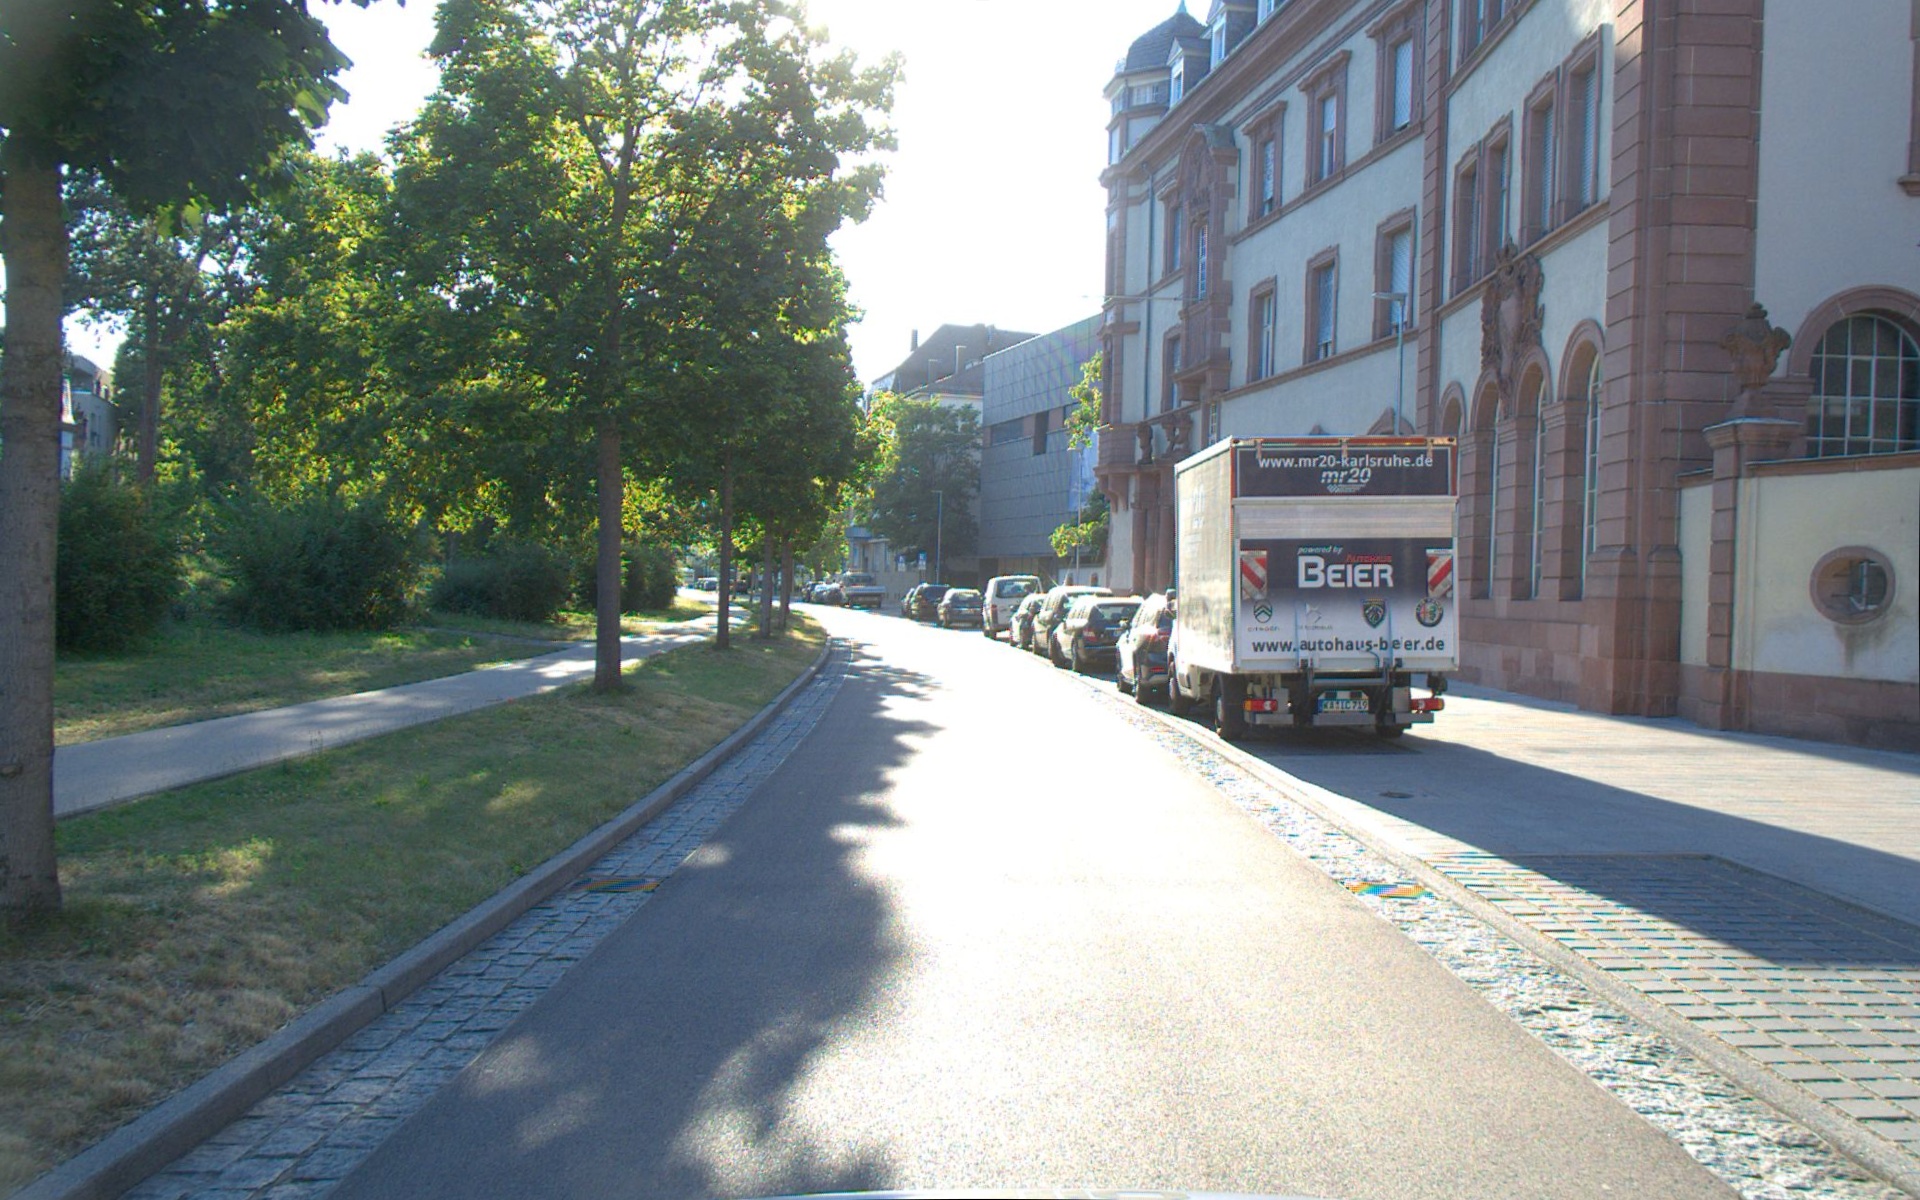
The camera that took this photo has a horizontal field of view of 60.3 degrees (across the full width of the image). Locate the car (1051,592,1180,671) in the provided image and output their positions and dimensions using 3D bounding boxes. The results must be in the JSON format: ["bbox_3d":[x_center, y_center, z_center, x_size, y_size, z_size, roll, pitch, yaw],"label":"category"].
[{"bbox_3d":[3.072,0.586,33.585,1.835,1.461,4.518,0,1,-5],"label":"car"}]

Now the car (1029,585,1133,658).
[{"bbox_3d":[2.815,0.457,39.229,1.781,1.630,4.187,0,1,-6],"label":"car"}]

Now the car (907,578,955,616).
[{"bbox_3d":[-1.388,-0.165,77.212,1.693,1.698,4.105,0,1,-10],"label":"car"}]

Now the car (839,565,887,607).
[{"bbox_3d":[-6.256,-0.902,105.656,2.172,2.574,6.130,-1,1,-12],"label":"car"}]

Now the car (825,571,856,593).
[{"bbox_3d":[-8.448,-1.277,116.693,1.662,1.465,3.538,0,1,-13],"label":"car"}]

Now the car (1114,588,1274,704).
[{"bbox_3d":[3.409,0.616,24.906,1.732,1.557,4.572,0,1,0],"label":"car"}]

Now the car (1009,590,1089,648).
[{"bbox_3d":[2.328,0.474,44.341,1.646,1.427,4.196,0,1,-4],"label":"car"}]

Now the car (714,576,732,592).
[{"bbox_3d":[-27.604,-1.830,192.419,1.762,1.754,3.989,2,0,-12],"label":"car"}]

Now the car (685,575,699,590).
[{"bbox_3d":[-39.403,-2.574,243.169,1.762,2.034,3.989,2,0,-12],"label":"car"}]

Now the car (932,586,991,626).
[{"bbox_3d":[0.022,0.214,66.850,1.715,1.492,4.469,2,1,-8],"label":"car"}]

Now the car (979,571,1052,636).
[{"bbox_3d":[1.791,0.079,55.002,1.954,2.000,4.846,-2,0,-3],"label":"car"}]

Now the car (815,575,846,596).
[{"bbox_3d":[-9.499,-1.094,121.337,1.661,1.465,4.090,0,1,-13],"label":"car"}]

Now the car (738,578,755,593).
[{"bbox_3d":[-23.142,-1.625,179.207,1.761,1.536,3.992,2,0,-9],"label":"car"}]

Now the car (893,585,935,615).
[{"bbox_3d":[-2.347,-0.034,83.251,1.692,1.446,3.899,0,1,-8],"label":"car"}]

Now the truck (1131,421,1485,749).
[{"bbox_3d":[3.715,-0.187,19.152,2.571,3.175,6.084,-1,1,-3],"label":"truck"}]
